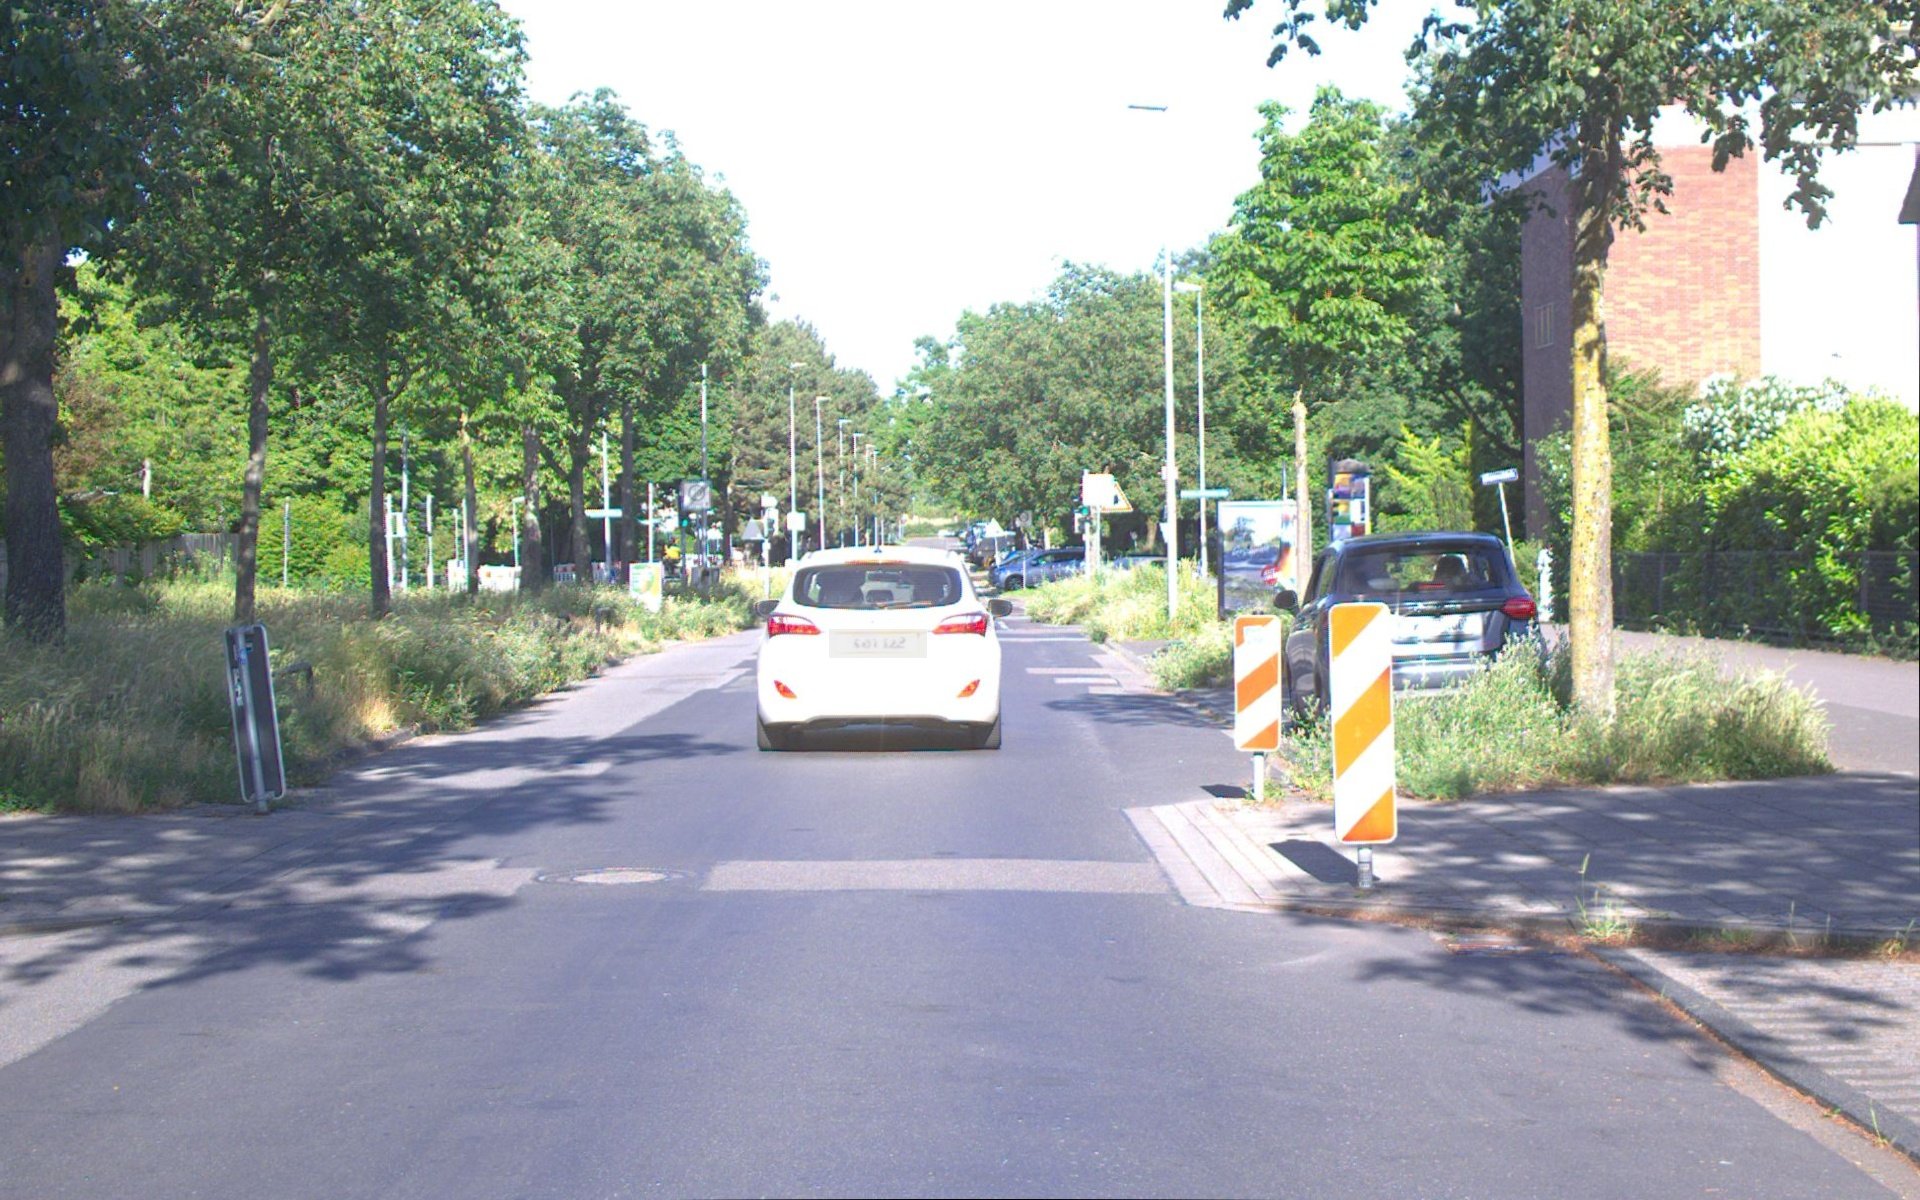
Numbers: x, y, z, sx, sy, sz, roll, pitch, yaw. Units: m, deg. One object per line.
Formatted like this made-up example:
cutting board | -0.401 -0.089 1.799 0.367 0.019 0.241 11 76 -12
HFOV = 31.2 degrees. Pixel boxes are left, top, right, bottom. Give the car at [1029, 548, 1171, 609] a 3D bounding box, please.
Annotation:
car | 3.819 -0.575 93.200 1.998 1.503 3.650 3 1 39

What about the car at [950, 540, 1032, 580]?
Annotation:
car | 1.536 -1.998 171.062 3.986 2.007 2.000 0 1 -1

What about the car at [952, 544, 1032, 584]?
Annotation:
car | 1.586 -1.841 173.633 3.986 2.007 2.000 0 1 -1

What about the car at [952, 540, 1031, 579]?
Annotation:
car | 1.614 -2.080 176.356 3.986 2.007 2.000 0 1 -1

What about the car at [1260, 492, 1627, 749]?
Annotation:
car | 3.558 0.133 26.027 1.993 1.722 4.000 -2 0 -2

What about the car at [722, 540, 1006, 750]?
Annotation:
car | -0.745 0.279 26.272 1.993 1.450 4.225 0 1 -2

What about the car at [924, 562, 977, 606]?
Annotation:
car | -0.343 -0.586 123.748 1.816 1.503 3.658 3 1 0

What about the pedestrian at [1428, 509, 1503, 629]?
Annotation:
pedestrian | 8.495 -0.523 57.809 1.112 2.007 0.922 0 1 0

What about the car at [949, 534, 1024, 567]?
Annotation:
car | 1.422 -2.690 186.529 3.986 1.744 2.000 0 1 -2

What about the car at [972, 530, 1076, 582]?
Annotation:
car | 2.497 -1.742 134.313 3.986 2.007 2.000 0 1 -1
